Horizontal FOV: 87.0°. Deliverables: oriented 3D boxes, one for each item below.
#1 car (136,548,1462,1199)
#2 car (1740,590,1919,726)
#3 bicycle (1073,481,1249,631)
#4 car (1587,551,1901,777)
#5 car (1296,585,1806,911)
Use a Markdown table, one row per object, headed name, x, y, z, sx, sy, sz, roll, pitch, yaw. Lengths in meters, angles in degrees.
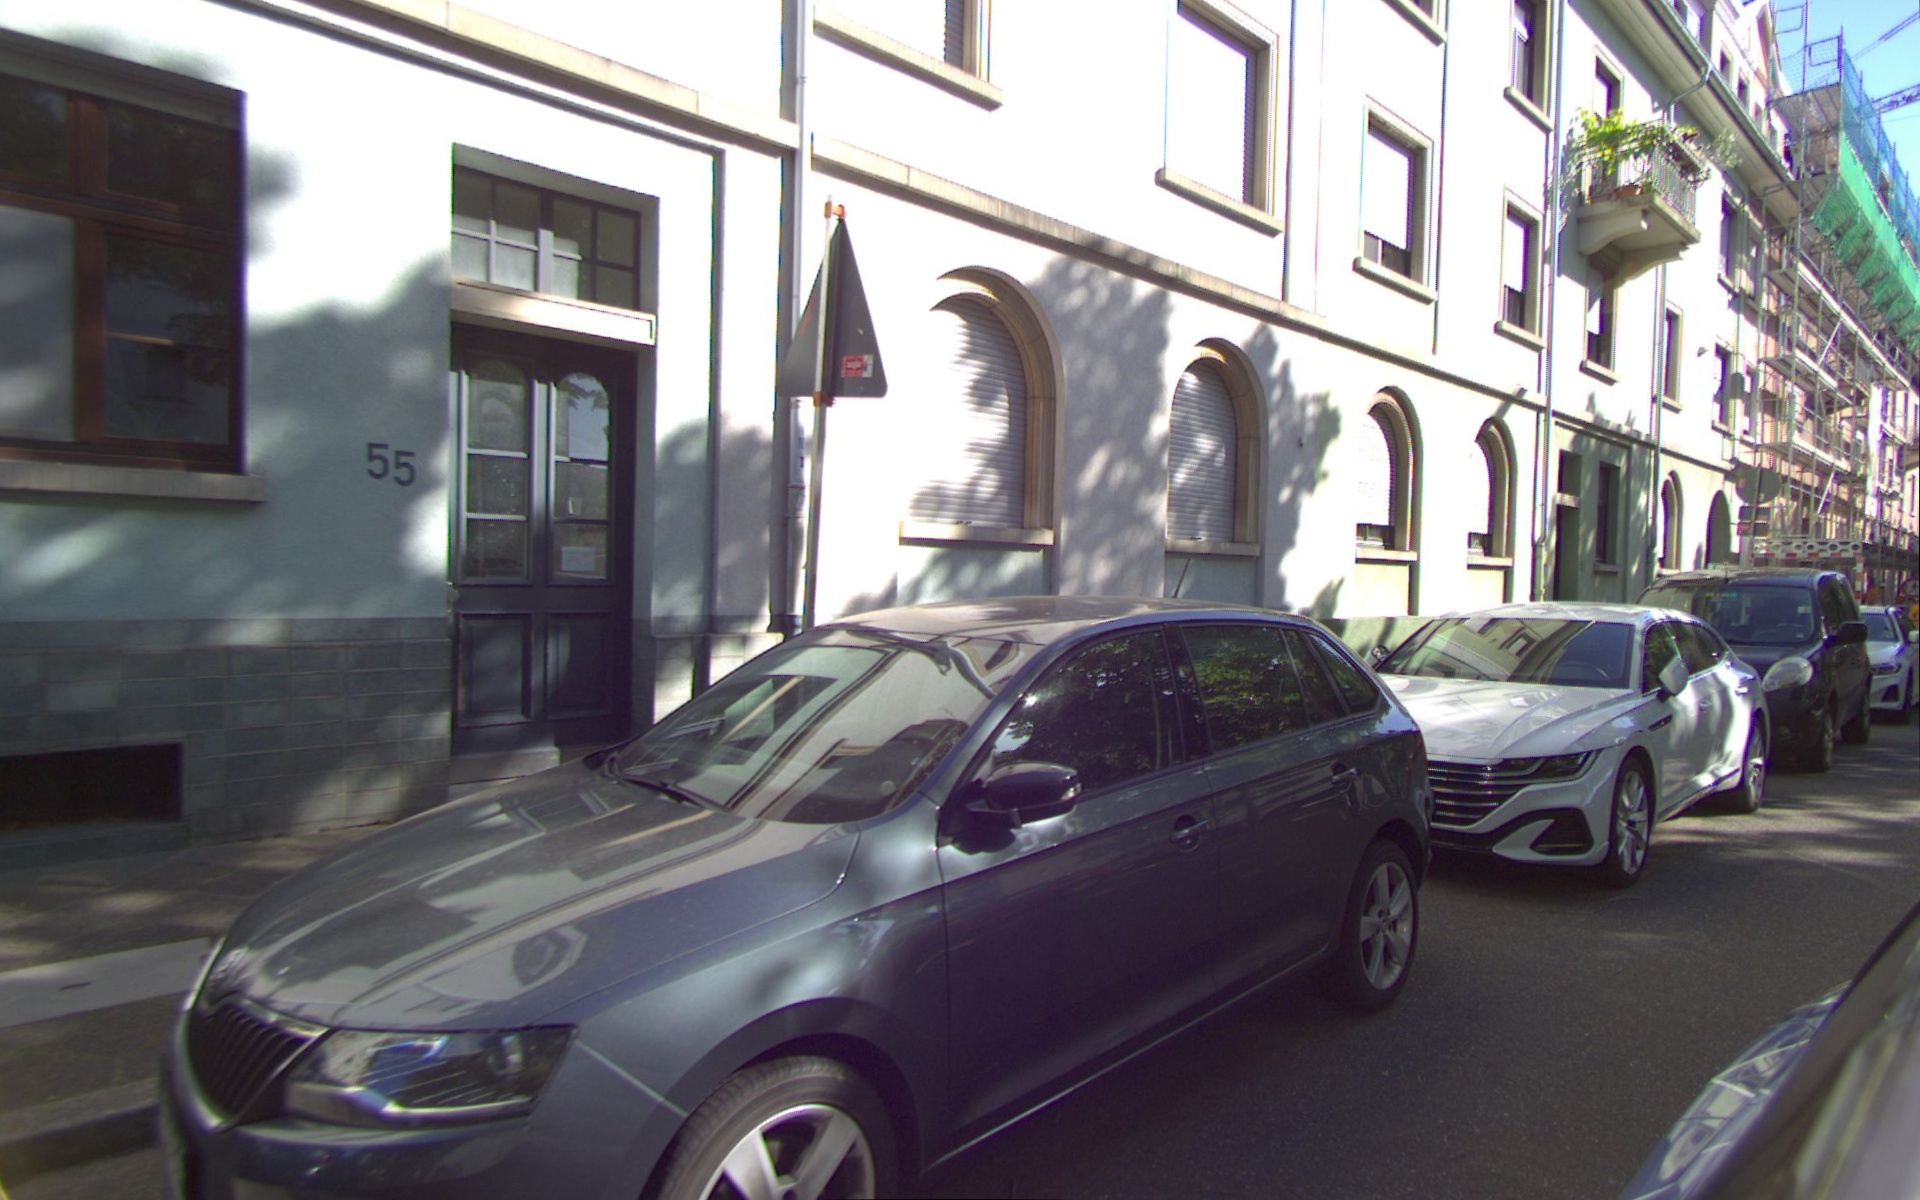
| name | x | y | z | sx | sy | sz | roll | pitch | yaw |
| --- | --- | --- | --- | --- | --- | --- | --- | --- | --- |
| car | -0.024 | 0.649 | 3.185 | 3.900 | 1.511 | 1.601 | 0 | 2 | -43 |
| car | 12.233 | 0.656 | 13.790 | 4.208 | 1.530 | 1.708 | 0 | 2 | -41 |
| bicycle | 1.804 | -0.360 | 8.869 | 1.949 | 1.196 | 0.395 | 0 | 1 | -41 |
| car | 7.933 | 0.473 | 10.111 | 3.921 | 1.816 | 1.774 | 0 | 2 | -42 |
| car | 4.140 | 0.652 | 6.704 | 4.490 | 1.437 | 1.609 | 0 | 2 | -42 |
